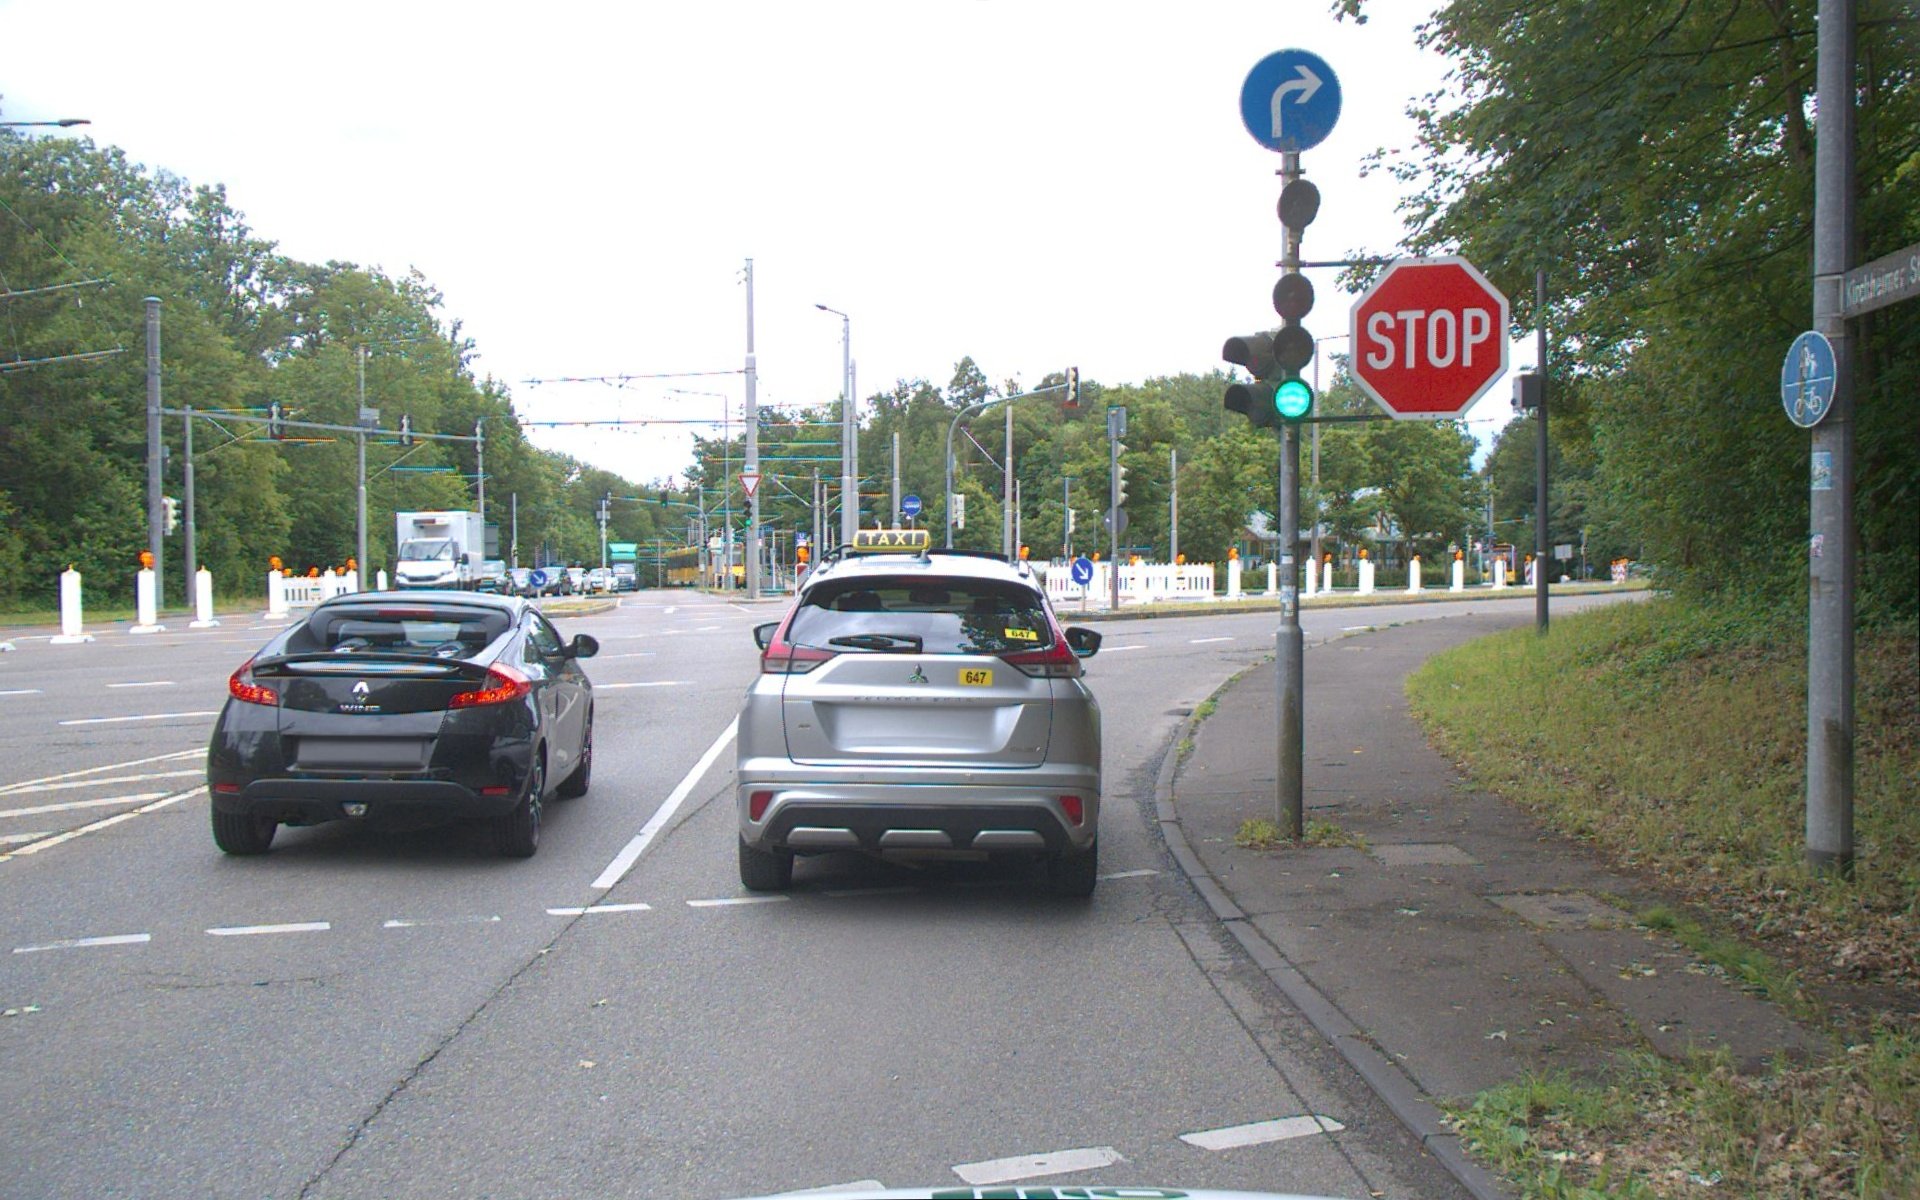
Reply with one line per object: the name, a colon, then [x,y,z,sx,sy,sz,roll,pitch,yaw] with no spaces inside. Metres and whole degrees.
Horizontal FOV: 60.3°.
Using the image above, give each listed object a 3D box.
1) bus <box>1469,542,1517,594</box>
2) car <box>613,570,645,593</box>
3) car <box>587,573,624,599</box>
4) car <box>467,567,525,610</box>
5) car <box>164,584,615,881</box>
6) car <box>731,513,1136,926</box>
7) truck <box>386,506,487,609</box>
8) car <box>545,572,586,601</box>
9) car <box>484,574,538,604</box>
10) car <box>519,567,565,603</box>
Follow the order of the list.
bus: [40.144,-2.452,124.878,2.761,3.666,12.815,0,1,15]
car: [-23.324,-1.348,116.720,1.925,1.567,4.303,-1,1,-8]
car: [-22.085,-0.893,103.224,1.925,1.568,4.388,-1,1,-8]
car: [-20.117,-0.526,71.889,1.926,1.780,4.835,-1,1,-10]
car: [-3.147,0.628,9.849,1.739,1.385,3.472,-2,1,-6]
car: [-0.148,0.497,9.106,1.738,1.778,3.780,1,1,-1]
truck: [-18.001,-1.414,57.228,2.405,3.280,7.137,-2,1,-11]
car: [-23.174,-0.841,97.355,1.925,1.635,4.303,-1,1,-8]
car: [-21.756,-0.559,80.231,1.925,1.385,4.682,-1,1,-8]
car: [-22.866,-0.838,90.628,1.925,1.877,4.682,-1,1,-8]
